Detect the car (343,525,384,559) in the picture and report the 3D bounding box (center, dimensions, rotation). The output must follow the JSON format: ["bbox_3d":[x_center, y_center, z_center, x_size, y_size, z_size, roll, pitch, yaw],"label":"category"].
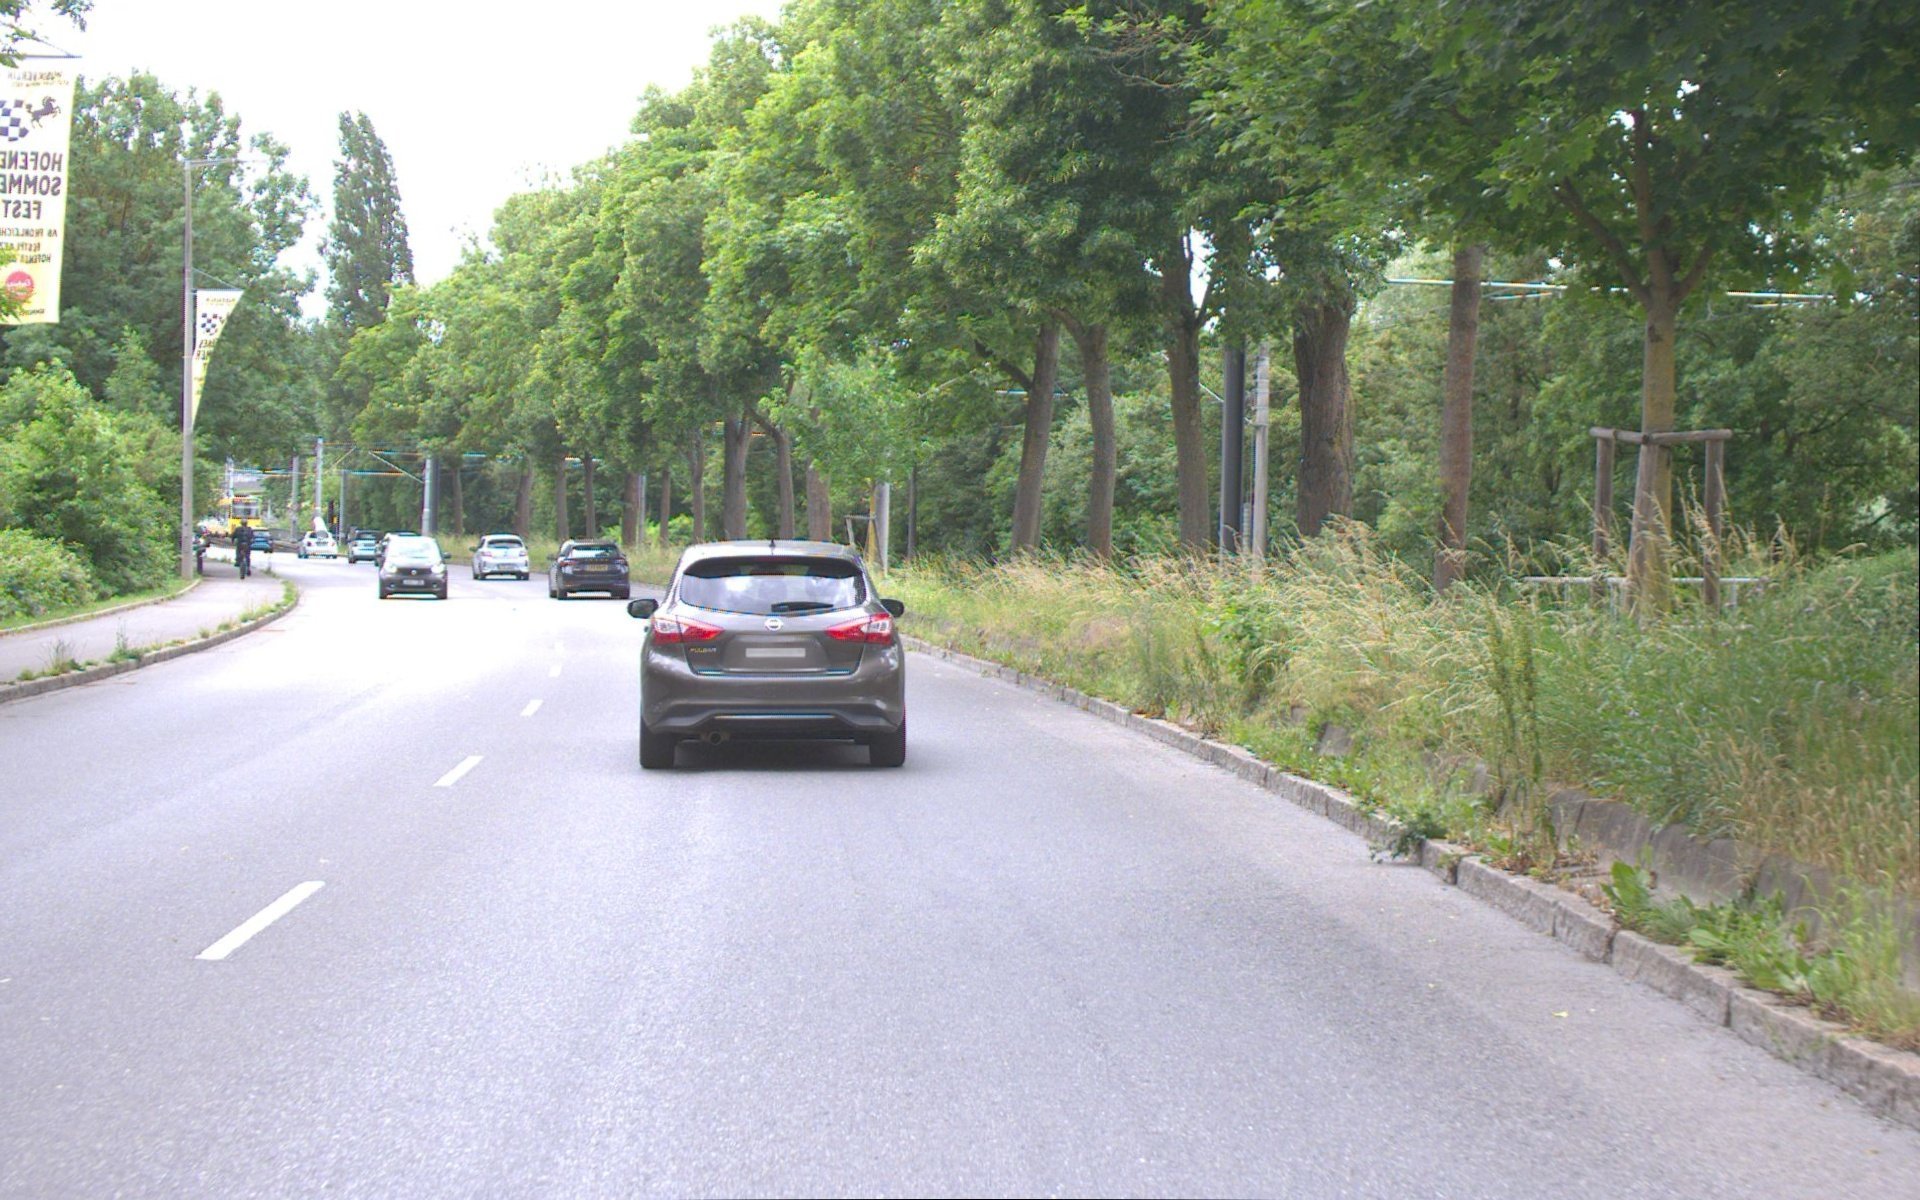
[{"bbox_3d":[-27.824,-2.710,160.275,1.775,1.467,4.002,2,2,-11],"label":"car"}]

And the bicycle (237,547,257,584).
[{"bbox_3d":[-20.973,-1.010,101.126,0.488,1.027,1.125,3,1,-10],"label":"bicycle"}]

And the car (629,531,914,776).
[{"bbox_3d":[-1.378,0.310,24.045,1.816,1.503,4.001,0,2,-5],"label":"car"}]

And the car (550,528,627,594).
[{"bbox_3d":[-9.159,-0.978,84.890,1.775,1.467,4.001,3,1,-6],"label":"car"}]

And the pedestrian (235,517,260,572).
[{"bbox_3d":[-20.931,-1.639,101.032,0.617,1.566,0.849,3,1,-10],"label":"pedestrian"}]

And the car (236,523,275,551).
[{"bbox_3d":[-42.550,-3.806,207.539,1.775,1.467,4.002,3,2,-18],"label":"car"}]

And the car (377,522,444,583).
[{"bbox_3d":[-13.623,-1.184,85.354,1.595,1.500,3.029,0,1,-8],"label":"car"}]

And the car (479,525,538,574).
[{"bbox_3d":[-14.961,-1.696,114.049,1.775,1.467,4.001,3,1,-6],"label":"car"}]

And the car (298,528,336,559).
[{"bbox_3d":[-33.907,-2.985,181.326,1.775,1.467,4.002,3,2,-13],"label":"car"}]
